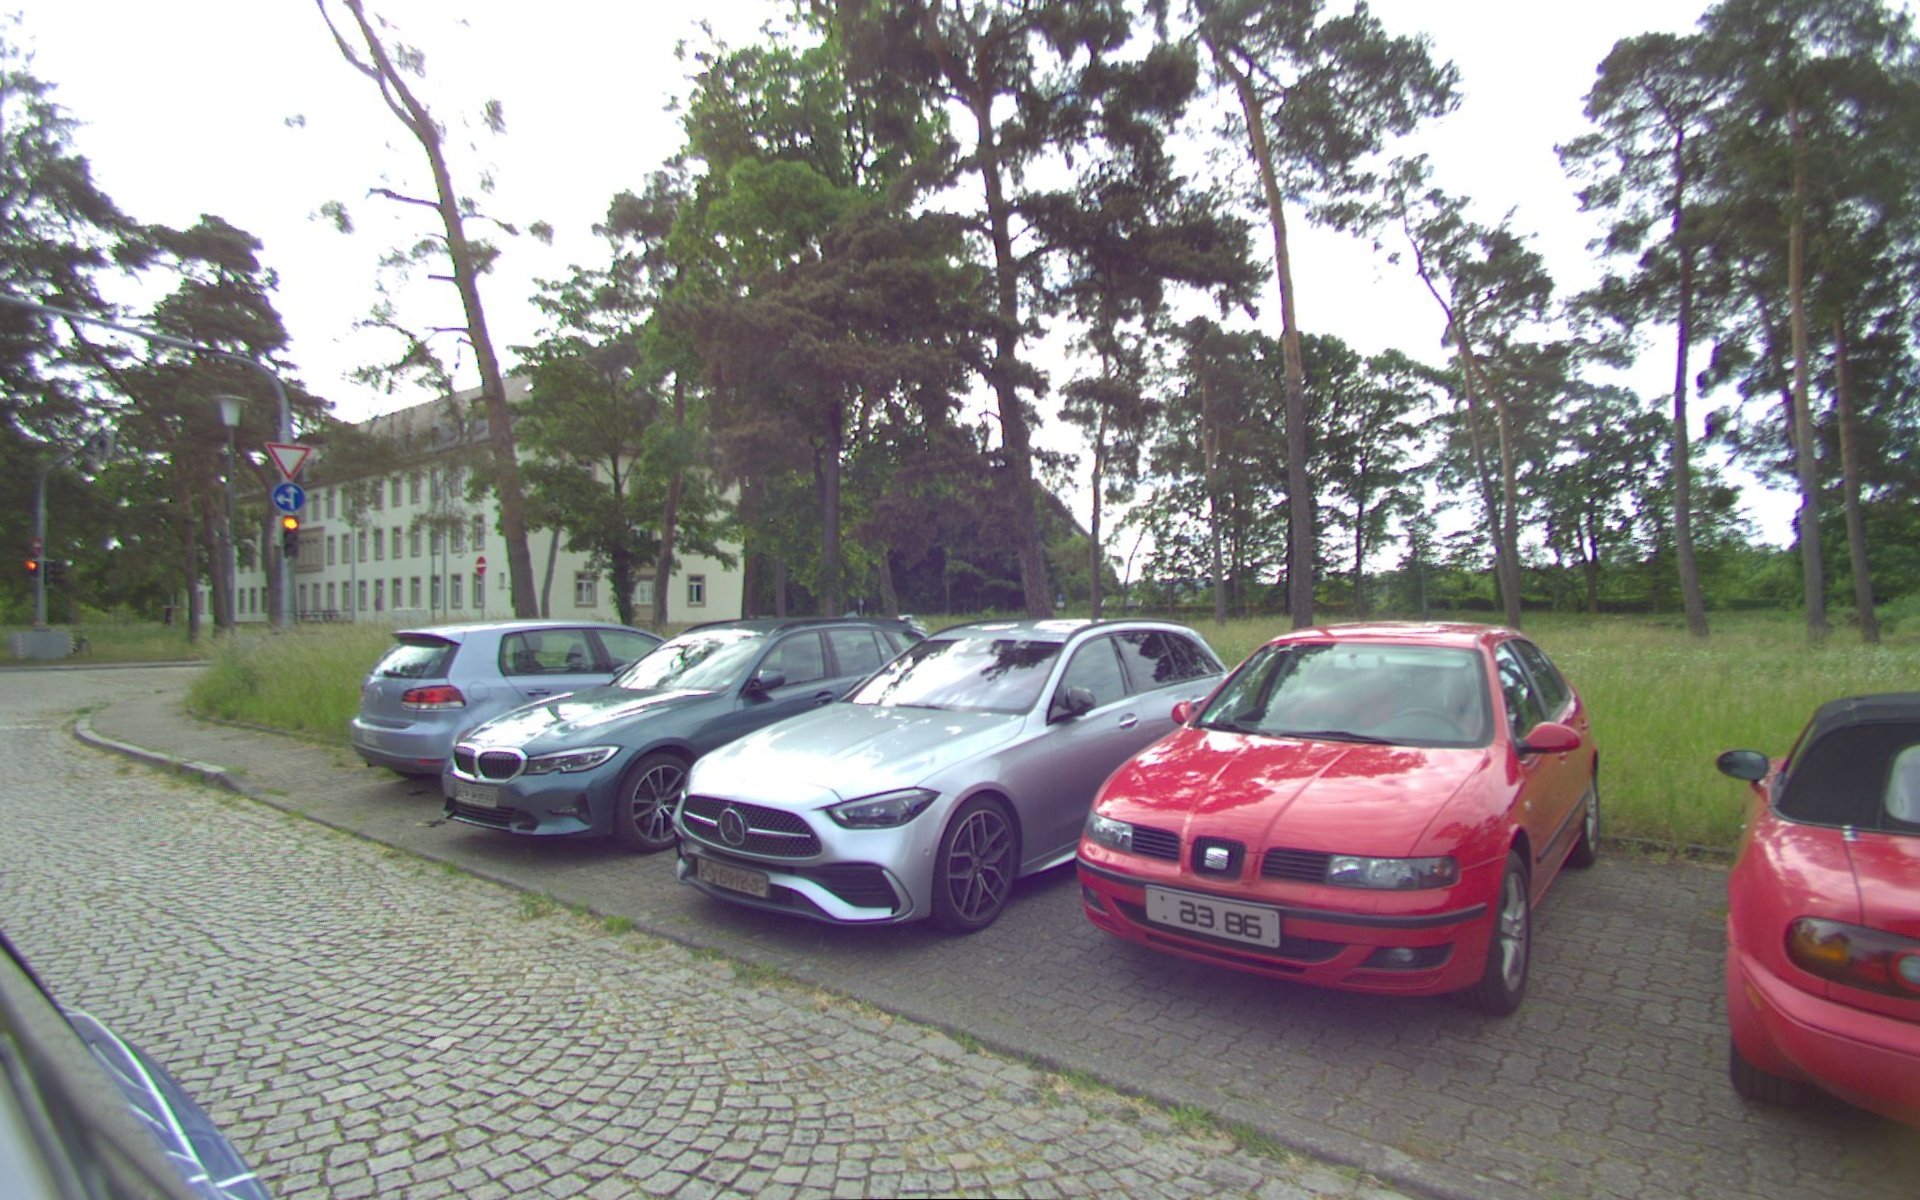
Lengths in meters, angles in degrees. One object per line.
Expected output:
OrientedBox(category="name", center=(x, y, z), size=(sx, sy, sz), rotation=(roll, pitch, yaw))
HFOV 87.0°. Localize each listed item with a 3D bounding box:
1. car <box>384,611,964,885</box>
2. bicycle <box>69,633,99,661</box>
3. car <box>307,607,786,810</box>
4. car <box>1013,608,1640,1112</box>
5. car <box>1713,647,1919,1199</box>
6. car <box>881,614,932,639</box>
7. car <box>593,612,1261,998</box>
OrientedBox(category="car", center=(-1.947, 0.884, 8.073), size=(1.931, 1.560, 4.213), rotation=(-1, -1, 35))
OrientedBox(category="bicycle", center=(-30.211, 1.620, 34.904), size=(1.045, 0.923, 0.292), rotation=(-1, -1, 17))
OrientedBox(category="car", center=(-3.821, 0.868, 9.925), size=(1.902, 1.554, 3.949), rotation=(-1, -1, 37))
OrientedBox(category="car", center=(2.212, 0.805, 5.217), size=(1.862, 1.488, 4.126), rotation=(-1, -1, 38))
OrientedBox(category="car", center=(3.908, 0.868, 3.537), size=(1.829, 1.276, 4.124), rotation=(-1, -1, 40))
OrientedBox(category="car", center=(-4.078, 2.011, 77.565), size=(1.721, 1.820, 3.945), rotation=(-2, -2, 41))
OrientedBox(category="car", center=(0.175, 0.849, 6.337), size=(1.932, 1.519, 4.334), rotation=(-1, -1, 36))
